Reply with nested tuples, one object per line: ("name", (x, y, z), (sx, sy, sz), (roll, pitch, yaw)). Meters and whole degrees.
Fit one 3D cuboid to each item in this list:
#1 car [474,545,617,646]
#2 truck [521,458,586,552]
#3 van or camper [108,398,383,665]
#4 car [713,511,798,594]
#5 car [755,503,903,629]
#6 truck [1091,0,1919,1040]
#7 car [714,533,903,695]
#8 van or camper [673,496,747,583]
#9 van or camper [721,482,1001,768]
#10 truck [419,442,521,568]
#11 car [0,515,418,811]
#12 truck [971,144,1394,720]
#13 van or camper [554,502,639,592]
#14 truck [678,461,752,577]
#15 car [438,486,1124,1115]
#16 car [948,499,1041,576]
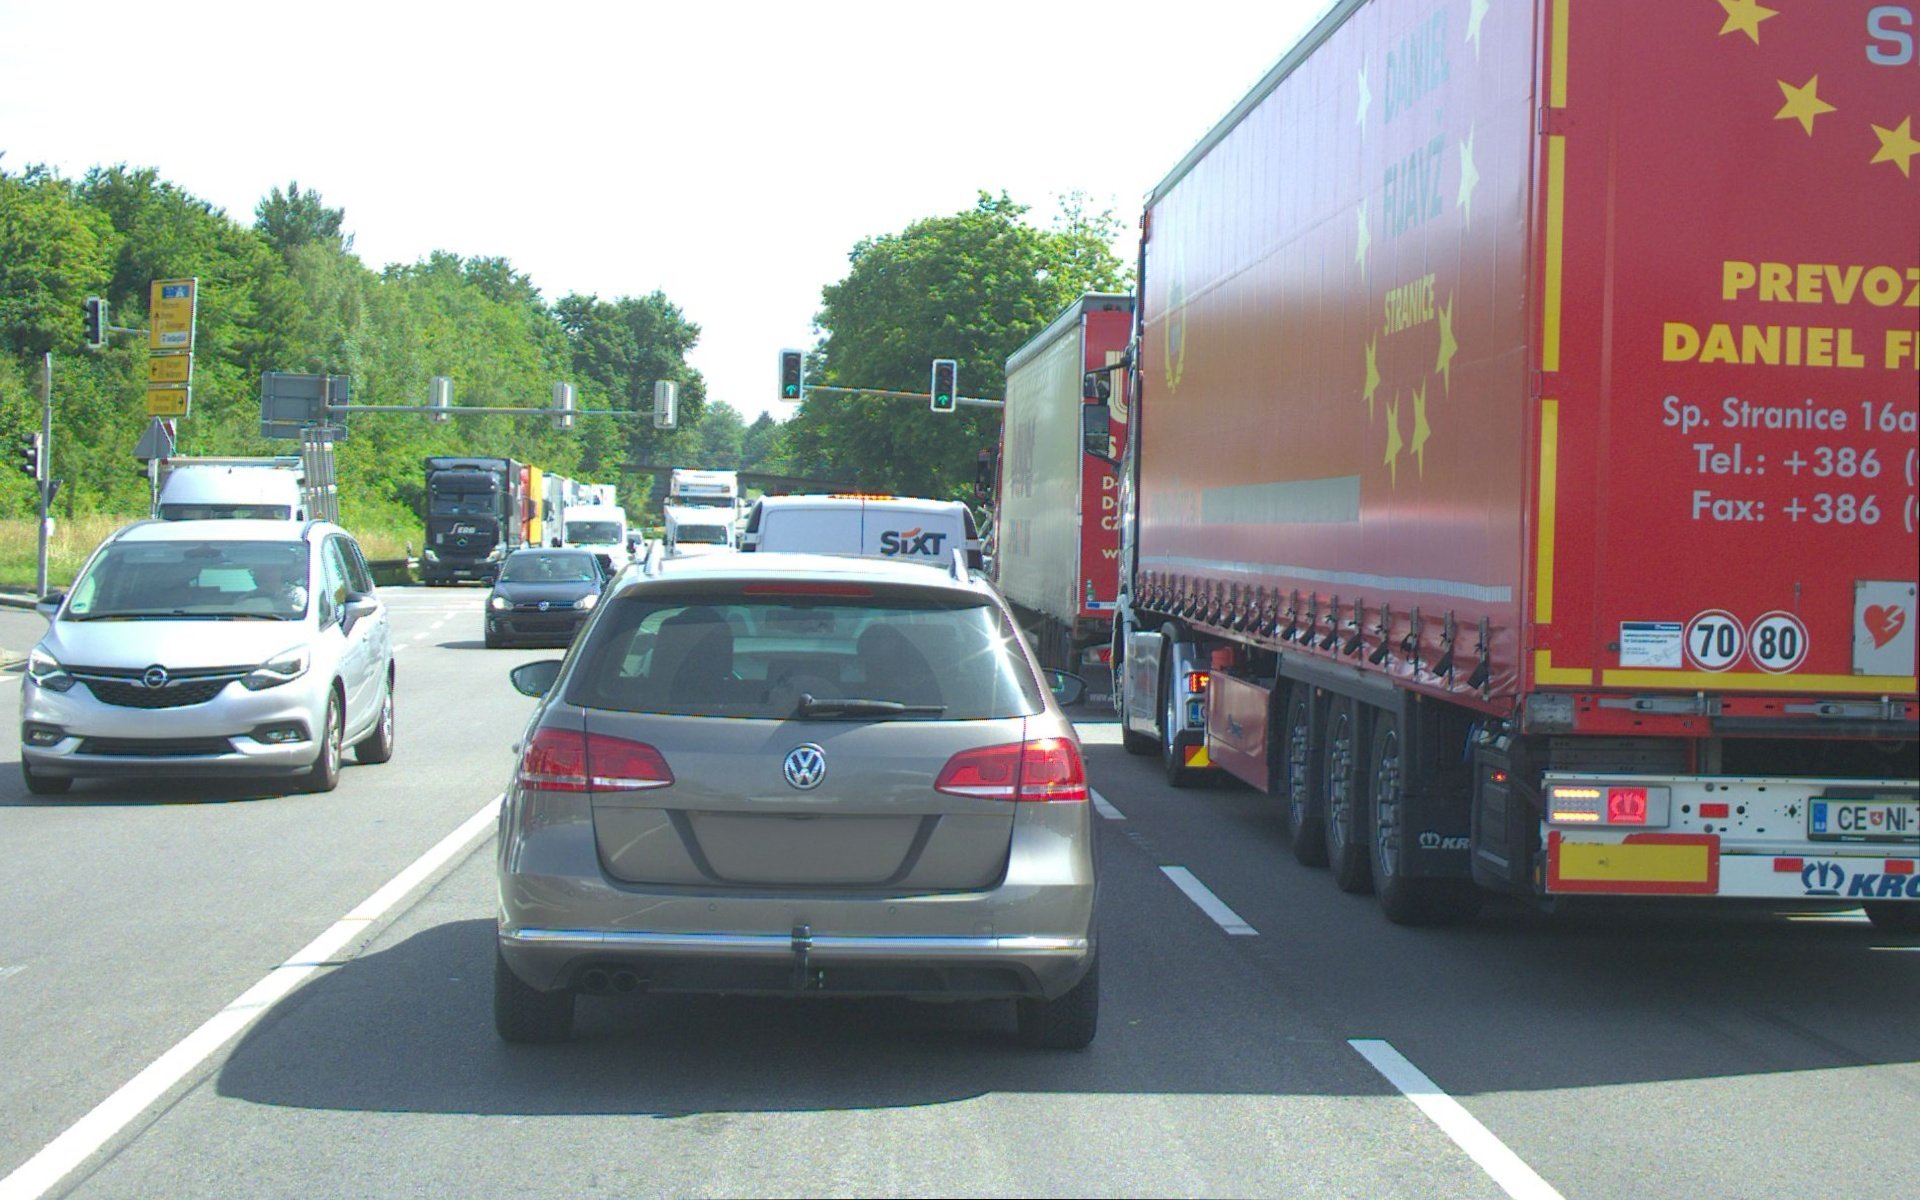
("car", (-6.065, -0.094, 50.607), (1.666, 1.404, 3.926), (0, 1, -1))
("truck", (-16.708, -3.895, 141.642), (2.532, 3.773, 6.991), (0, 1, -6))
("van or camper", (-9.002, -0.862, 43.892), (2.207, 3.045, 5.903), (4, 1, -1))
("car", (-4.892, -1.125, 82.493), (1.727, 1.902, 3.312), (2, 0, 1))
("car", (-1.661, -0.431, 44.522), (1.727, 1.514, 3.312), (2, 0, 0))
("truck", (2.878, -0.885, 19.060), (2.957, 4.255, 16.586), (2, 1, -2))
("car", (-1.492, 0.127, 34.825), (1.727, 1.514, 3.312), (2, 0, 0))
("van or camper", (-8.479, -2.022, 117.038), (2.224, 2.831, 5.711), (2, 0, -2))
("van or camper", (-0.758, 0.138, 25.331), (1.852, 1.899, 3.785), (2, 1, -3))
("truck", (-15.070, -2.907, 106.127), (2.812, 3.773, 6.991), (0, 1, -6))
("car", (-4.651, 0.325, 21.469), (1.909, 1.657, 4.181), (0, 1, -1))
("truck", (2.070, -1.683, 40.050), (3.062, 5.203, 17.009), (2, 1, -2))
("van or camper", (-10.696, -1.571, 101.438), (2.173, 2.542, 4.171), (2, 1, -3))
("truck", (-9.341, -3.072, 131.596), (2.552, 4.292, 7.596), (0, 1, -2))
("car", (-0.437, 0.506, 10.796), (1.790, 1.633, 3.503), (1, 1, 1))
("car", (0.694, -1.292, 72.061), (1.726, 1.514, 3.312), (2, 0, -2))
